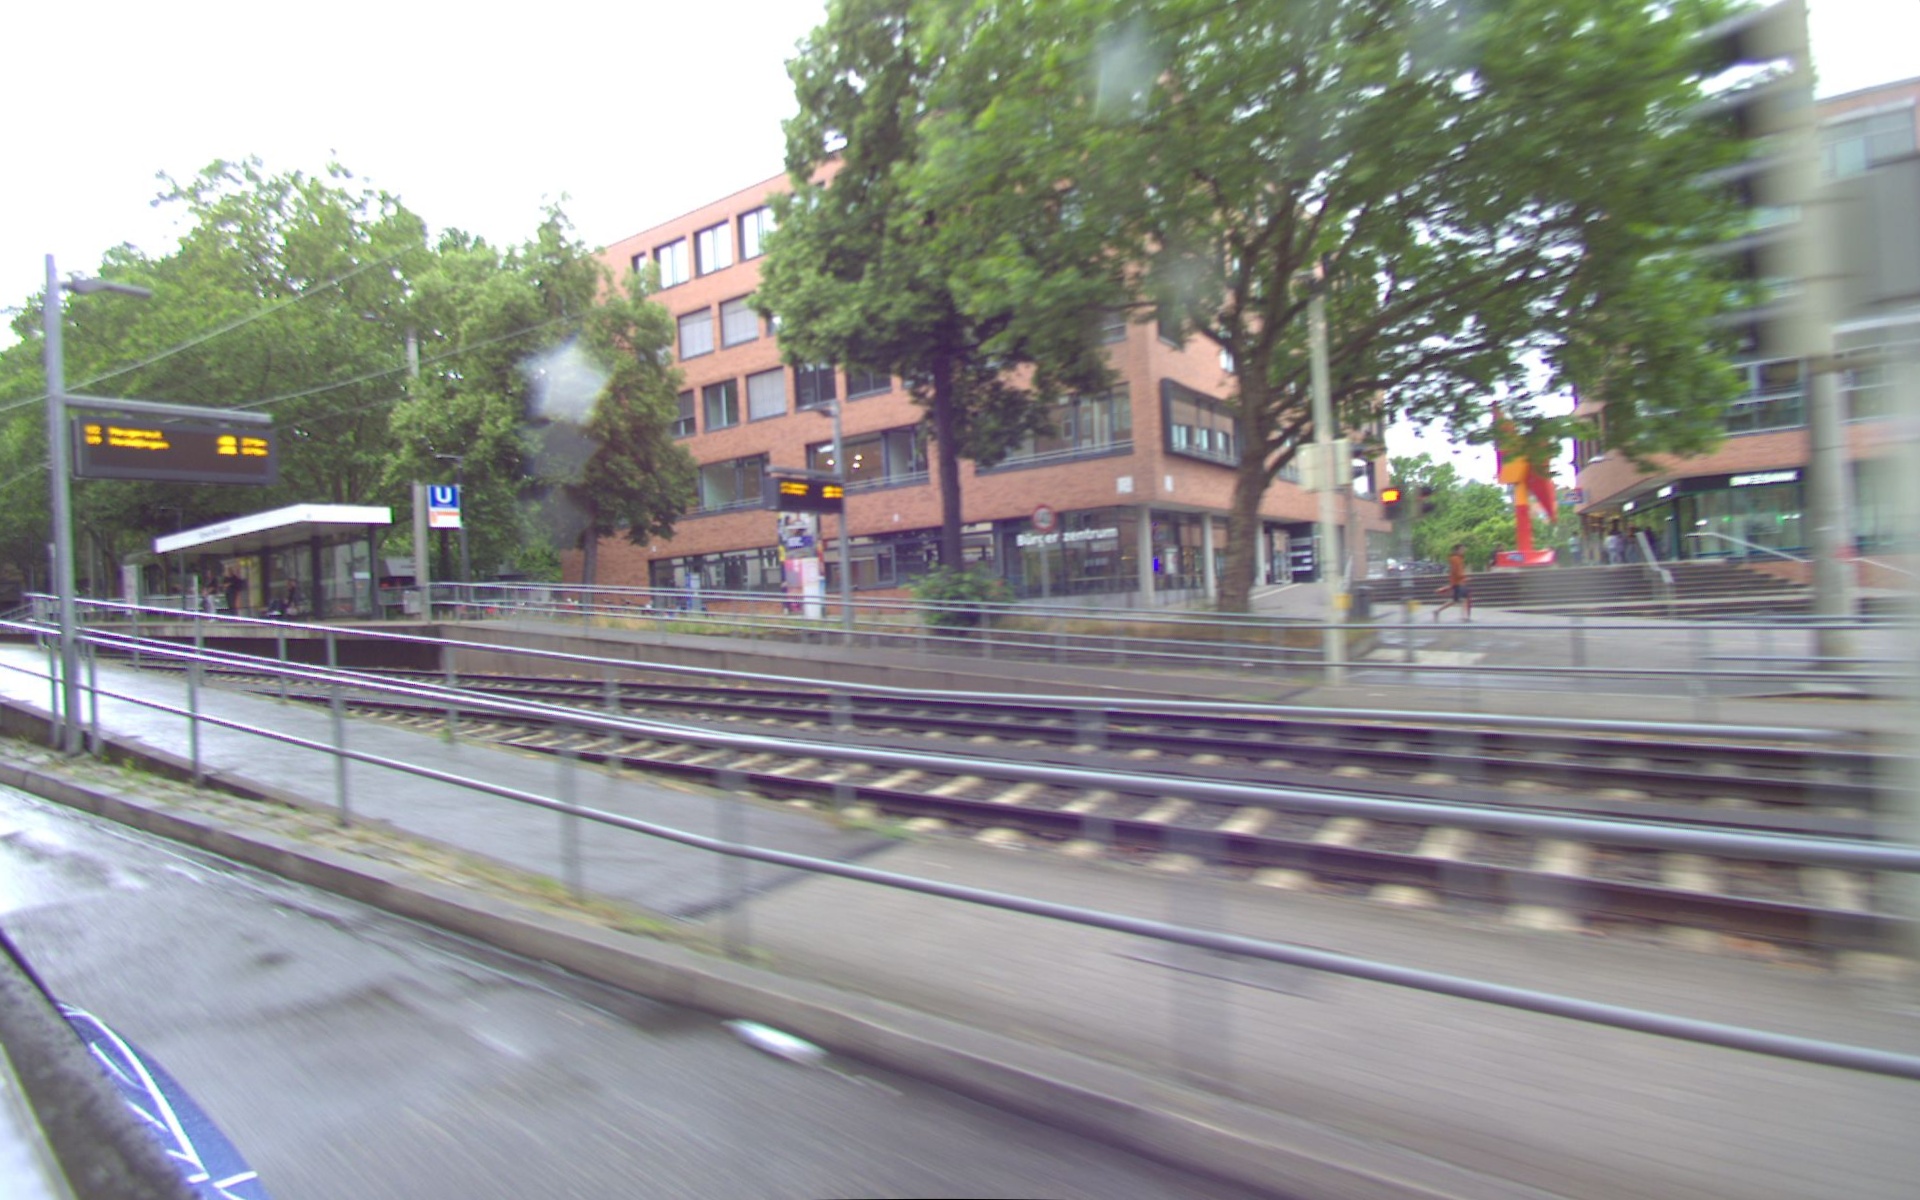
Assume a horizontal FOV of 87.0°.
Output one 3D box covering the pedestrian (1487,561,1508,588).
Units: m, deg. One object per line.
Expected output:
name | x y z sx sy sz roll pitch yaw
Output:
pedestrian | 31.593 -1.501 59.529 0.841 1.542 0.731 -1 0 -30

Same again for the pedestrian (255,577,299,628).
pedestrian | -20.339 0.073 30.148 0.881 1.494 0.774 -1 0 31

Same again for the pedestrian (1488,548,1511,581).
pedestrian | 26.407 -1.746 49.558 0.615 1.562 0.719 -1 0 -19

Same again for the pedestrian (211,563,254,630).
pedestrian | -23.220 -0.110 32.311 0.881 2.078 0.828 -1 0 31

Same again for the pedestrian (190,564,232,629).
pedestrian | -24.356 -0.105 32.908 0.881 2.078 0.828 -1 0 31

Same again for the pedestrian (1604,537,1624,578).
pedestrian | 28.590 -1.858 44.262 0.645 1.743 0.613 -1 0 28

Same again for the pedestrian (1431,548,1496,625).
pedestrian | 11.945 -0.339 24.037 0.779 1.757 1.073 -1 4 -22

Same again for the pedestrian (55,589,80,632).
pedestrian | -37.614 0.448 42.655 0.702 1.804 0.669 -1 -1 35

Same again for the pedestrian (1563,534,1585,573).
pedestrian | 28.184 -2.139 46.486 0.723 1.743 0.643 -1 0 22
